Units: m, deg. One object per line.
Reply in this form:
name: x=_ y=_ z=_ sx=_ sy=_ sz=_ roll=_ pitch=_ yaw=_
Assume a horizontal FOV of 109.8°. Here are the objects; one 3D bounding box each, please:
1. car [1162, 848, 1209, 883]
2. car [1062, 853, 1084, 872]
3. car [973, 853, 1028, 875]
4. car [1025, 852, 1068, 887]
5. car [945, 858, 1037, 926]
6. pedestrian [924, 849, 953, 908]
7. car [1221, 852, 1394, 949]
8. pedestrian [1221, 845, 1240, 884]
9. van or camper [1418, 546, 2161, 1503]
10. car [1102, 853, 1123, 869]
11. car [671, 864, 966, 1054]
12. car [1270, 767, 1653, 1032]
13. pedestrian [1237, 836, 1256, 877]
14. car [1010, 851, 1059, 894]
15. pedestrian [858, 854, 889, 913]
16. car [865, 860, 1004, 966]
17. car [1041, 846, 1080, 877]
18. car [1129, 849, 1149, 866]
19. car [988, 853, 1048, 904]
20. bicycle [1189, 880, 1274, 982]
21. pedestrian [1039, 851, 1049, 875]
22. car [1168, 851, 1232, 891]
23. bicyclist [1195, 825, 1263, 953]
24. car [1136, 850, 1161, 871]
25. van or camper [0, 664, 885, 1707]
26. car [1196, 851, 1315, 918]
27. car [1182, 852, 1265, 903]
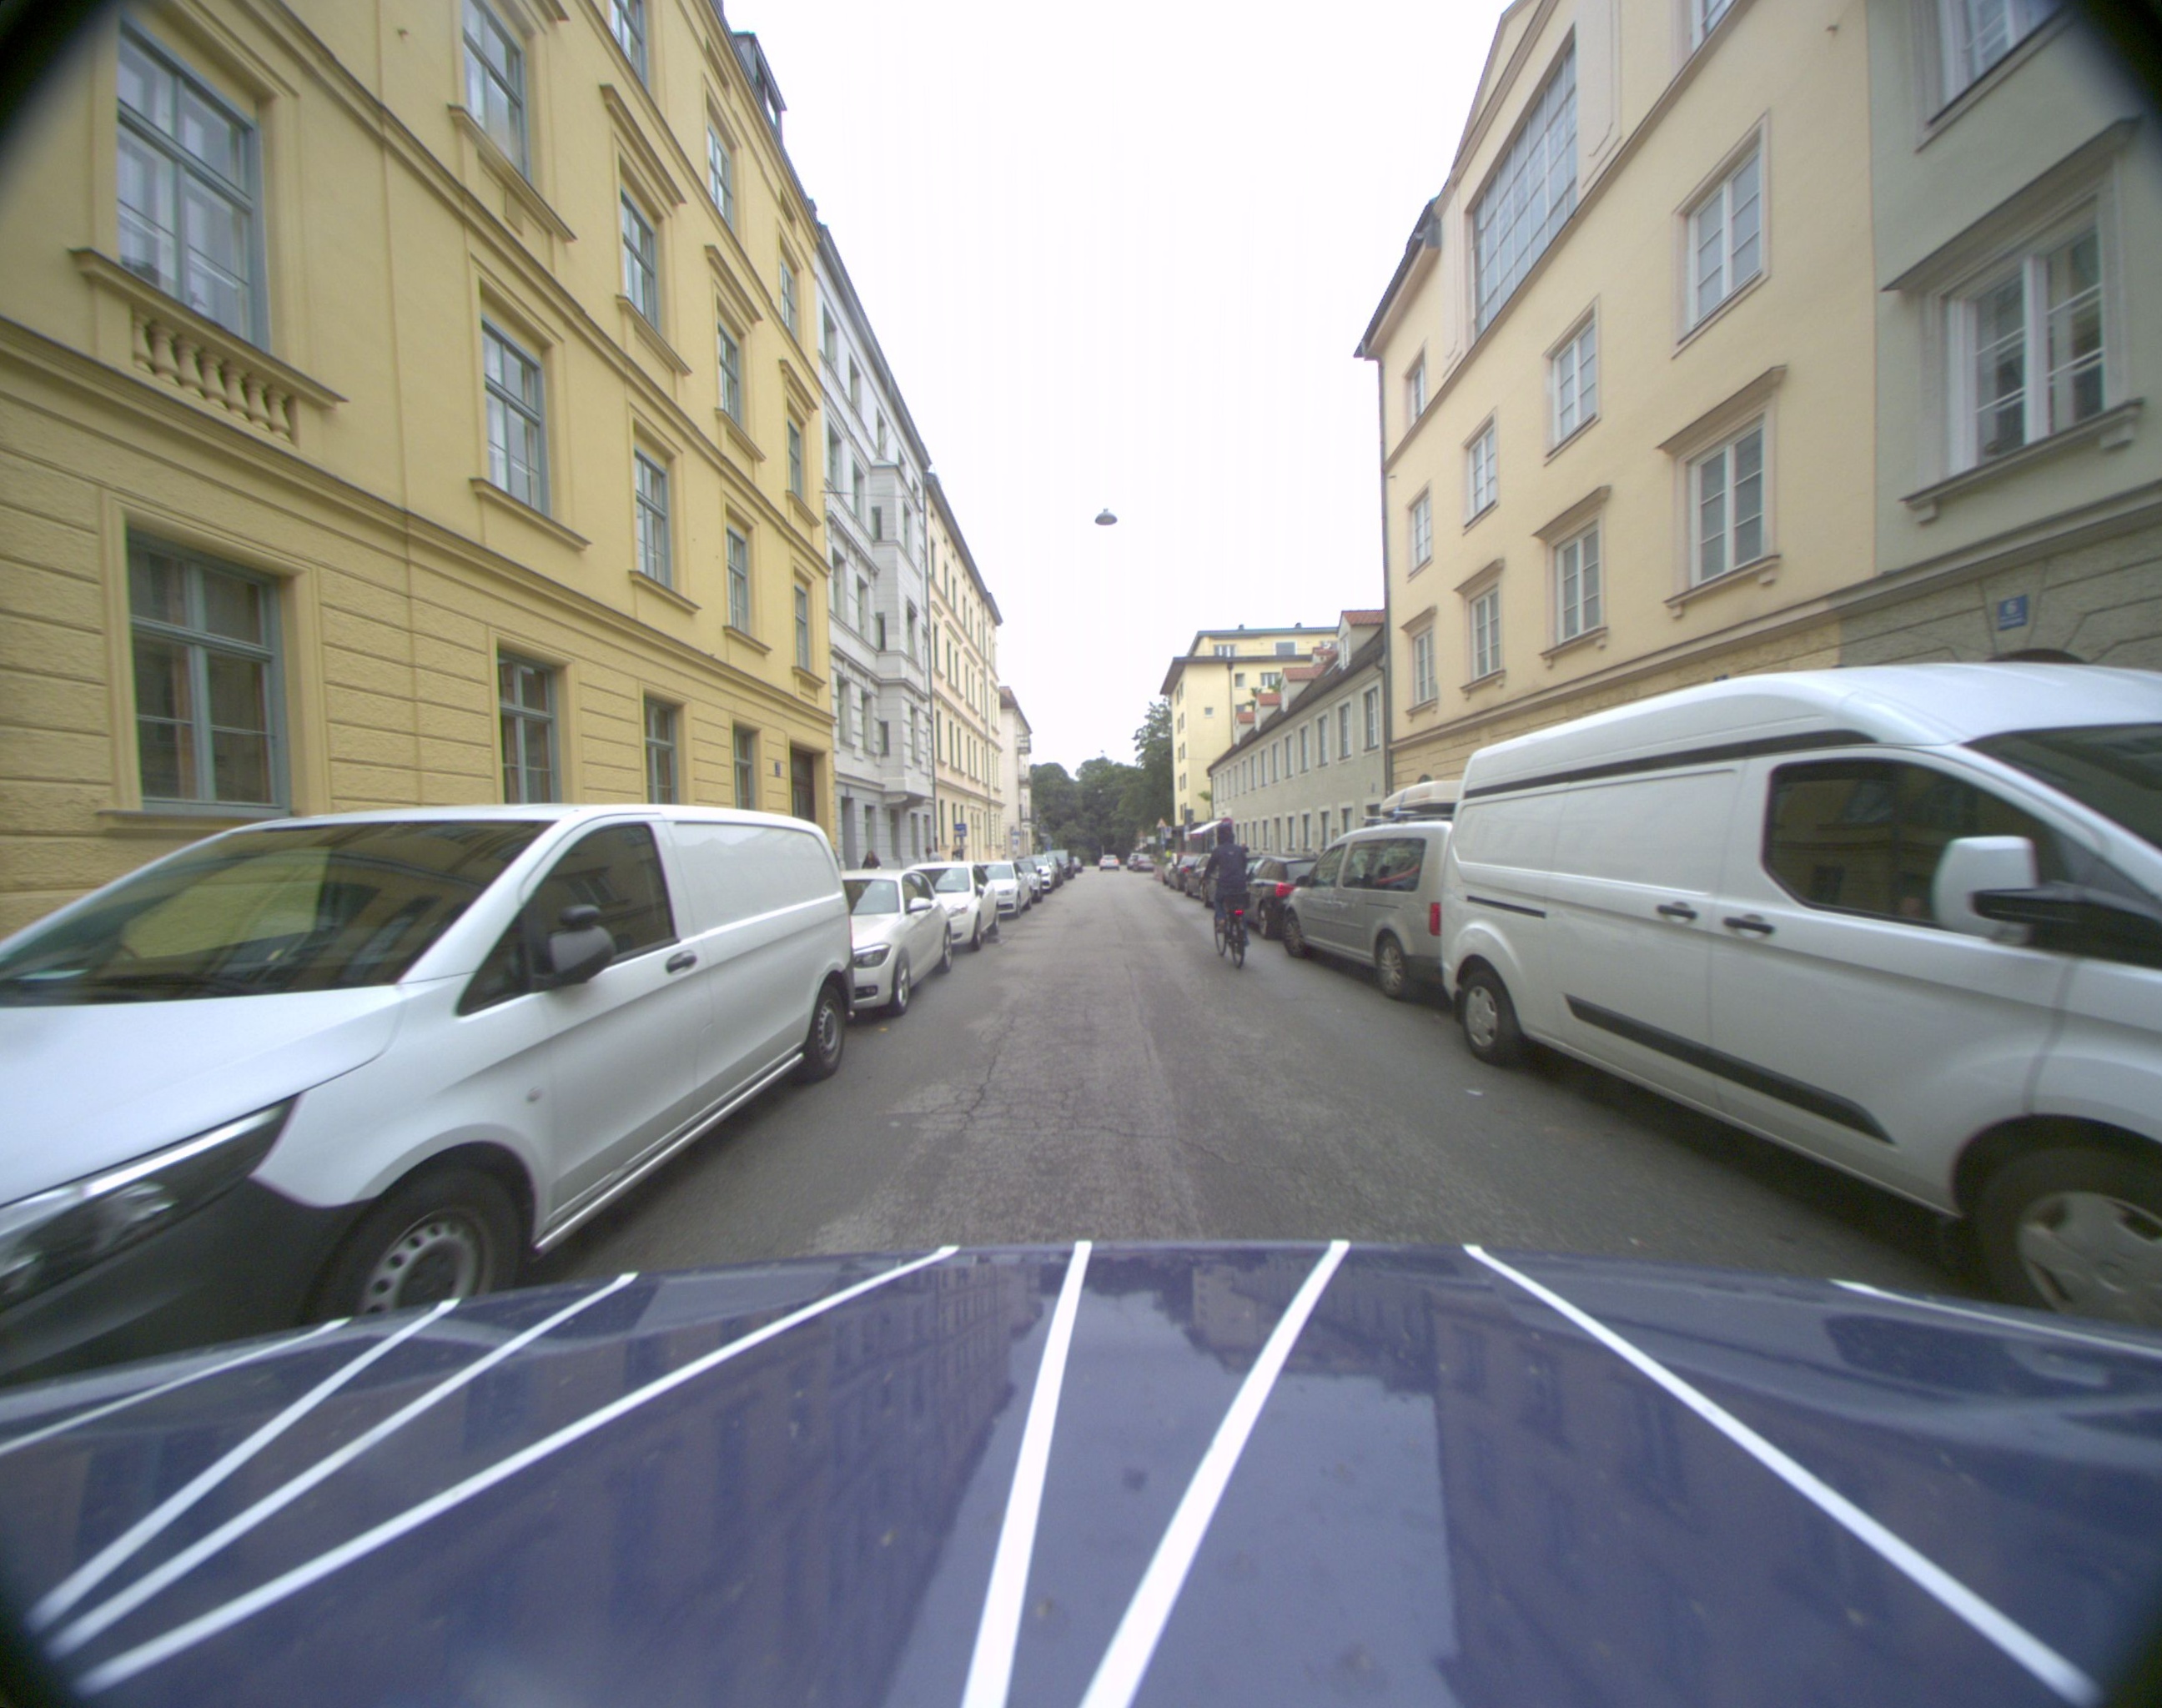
car: x=4.814 y=0.493 z=35.392 sx=1.573 sy=1.506 sz=3.423 roll=-3 pitch=1 yaw=-1
car: x=-0.680 y=0.738 z=65.806 sx=1.711 sy=1.491 sz=4.000 roll=-2 pitch=1 yaw=1
car: x=-6.212 y=0.767 z=58.844 sx=3.997 sy=1.557 sz=1.712 roll=-2 pitch=1 yaw=-1
car: x=-1.616 y=0.720 z=37.199 sx=1.721 sy=1.557 sz=4.143 roll=-2 pitch=1 yaw=2
car: x=-2.237 y=0.908 z=20.078 sx=1.721 sy=1.501 sz=4.469 roll=-2 pitch=1 yaw=2
pedestrian: x=-4.560 y=0.765 z=24.327 sx=0.703 sy=1.852 sz=0.805 roll=-2 pitch=1 yaw=0
car: x=3.916 y=0.720 z=13.937 sx=1.862 sy=1.393 sz=4.269 roll=-2 pitch=1 yaw=0
pedestrian: x=6.248 y=0.440 z=31.707 sx=0.614 sy=1.589 sz=0.662 roll=-2 pitch=1 yaw=-2
van or camper: x=3.653 y=0.392 z=3.441 sx=1.998 sy=2.298 sz=5.478 roll=0 pitch=1 yaw=2
car: x=2.891 y=0.657 z=70.538 sx=1.793 sy=1.409 sz=3.905 roll=-1 pitch=1 yaw=1
car: x=-2.617 y=0.941 z=8.869 sx=1.820 sy=1.501 sz=4.587 roll=-2 pitch=1 yaw=0
car: x=3.853 y=0.371 z=8.793 sx=1.862 sy=2.189 sz=4.559 roll=-3 pitch=1 yaw=-4
pedestrian: x=6.965 y=0.118 z=31.956 sx=0.582 sy=1.689 sz=0.806 roll=-2 pitch=1 yaw=-2
car: x=-1.892 y=0.721 z=31.928 sx=1.721 sy=1.592 sz=4.322 roll=-2 pitch=1 yaw=0
pedestrian: x=-5.640 y=0.798 z=20.664 sx=0.646 sy=1.566 sz=0.625 roll=1 pitch=1 yaw=3
car: x=-2.418 y=0.915 z=13.433 sx=1.627 sy=1.501 sz=3.761 roll=-2 pitch=1 yaw=1
car: x=-1.250 y=0.430 z=48.384 sx=1.998 sy=1.850 sz=5.114 roll=-2 pitch=1 yaw=3
car: x=5.614 y=0.345 z=74.348 sx=1.711 sy=1.550 sz=4.000 roll=-2 pitch=1 yaw=1
car: x=-2.032 y=0.766 z=25.617 sx=1.721 sy=1.501 sz=3.935 roll=-2 pitch=1 yaw=-1
bicycle: x=1.982 y=0.977 z=10.286 sx=0.734 sy=1.144 sz=1.999 roll=-2 pitch=1 yaw=1
pedestrian: x=-2.804 y=0.686 z=57.483 sx=0.698 sy=1.792 sz=0.730 roll=-2 pitch=1 yaw=1
car: x=4.581 y=0.611 z=29.862 sx=1.862 sy=1.393 sz=4.269 roll=-2 pitch=1 yaw=1
bicyclist: x=1.974 y=0.452 z=10.211 sx=0.688 sy=1.618 sz=0.853 roll=-2 pitch=1 yaw=1
car: x=5.332 y=0.495 z=60.302 sx=1.711 sy=1.491 sz=4.000 roll=-2 pitch=1 yaw=1
van or camper: x=-2.746 y=0.690 z=3.891 sx=1.998 sy=2.002 sz=5.232 roll=-2 pitch=1 yaw=1
car: x=4.220 y=0.682 z=19.080 sx=1.862 sy=1.393 sz=4.268 roll=-3 pitch=1 yaw=-1
car: x=4.469 y=0.672 z=24.439 sx=1.862 sy=1.393 sz=4.269 roll=-2 pitch=1 yaw=0
